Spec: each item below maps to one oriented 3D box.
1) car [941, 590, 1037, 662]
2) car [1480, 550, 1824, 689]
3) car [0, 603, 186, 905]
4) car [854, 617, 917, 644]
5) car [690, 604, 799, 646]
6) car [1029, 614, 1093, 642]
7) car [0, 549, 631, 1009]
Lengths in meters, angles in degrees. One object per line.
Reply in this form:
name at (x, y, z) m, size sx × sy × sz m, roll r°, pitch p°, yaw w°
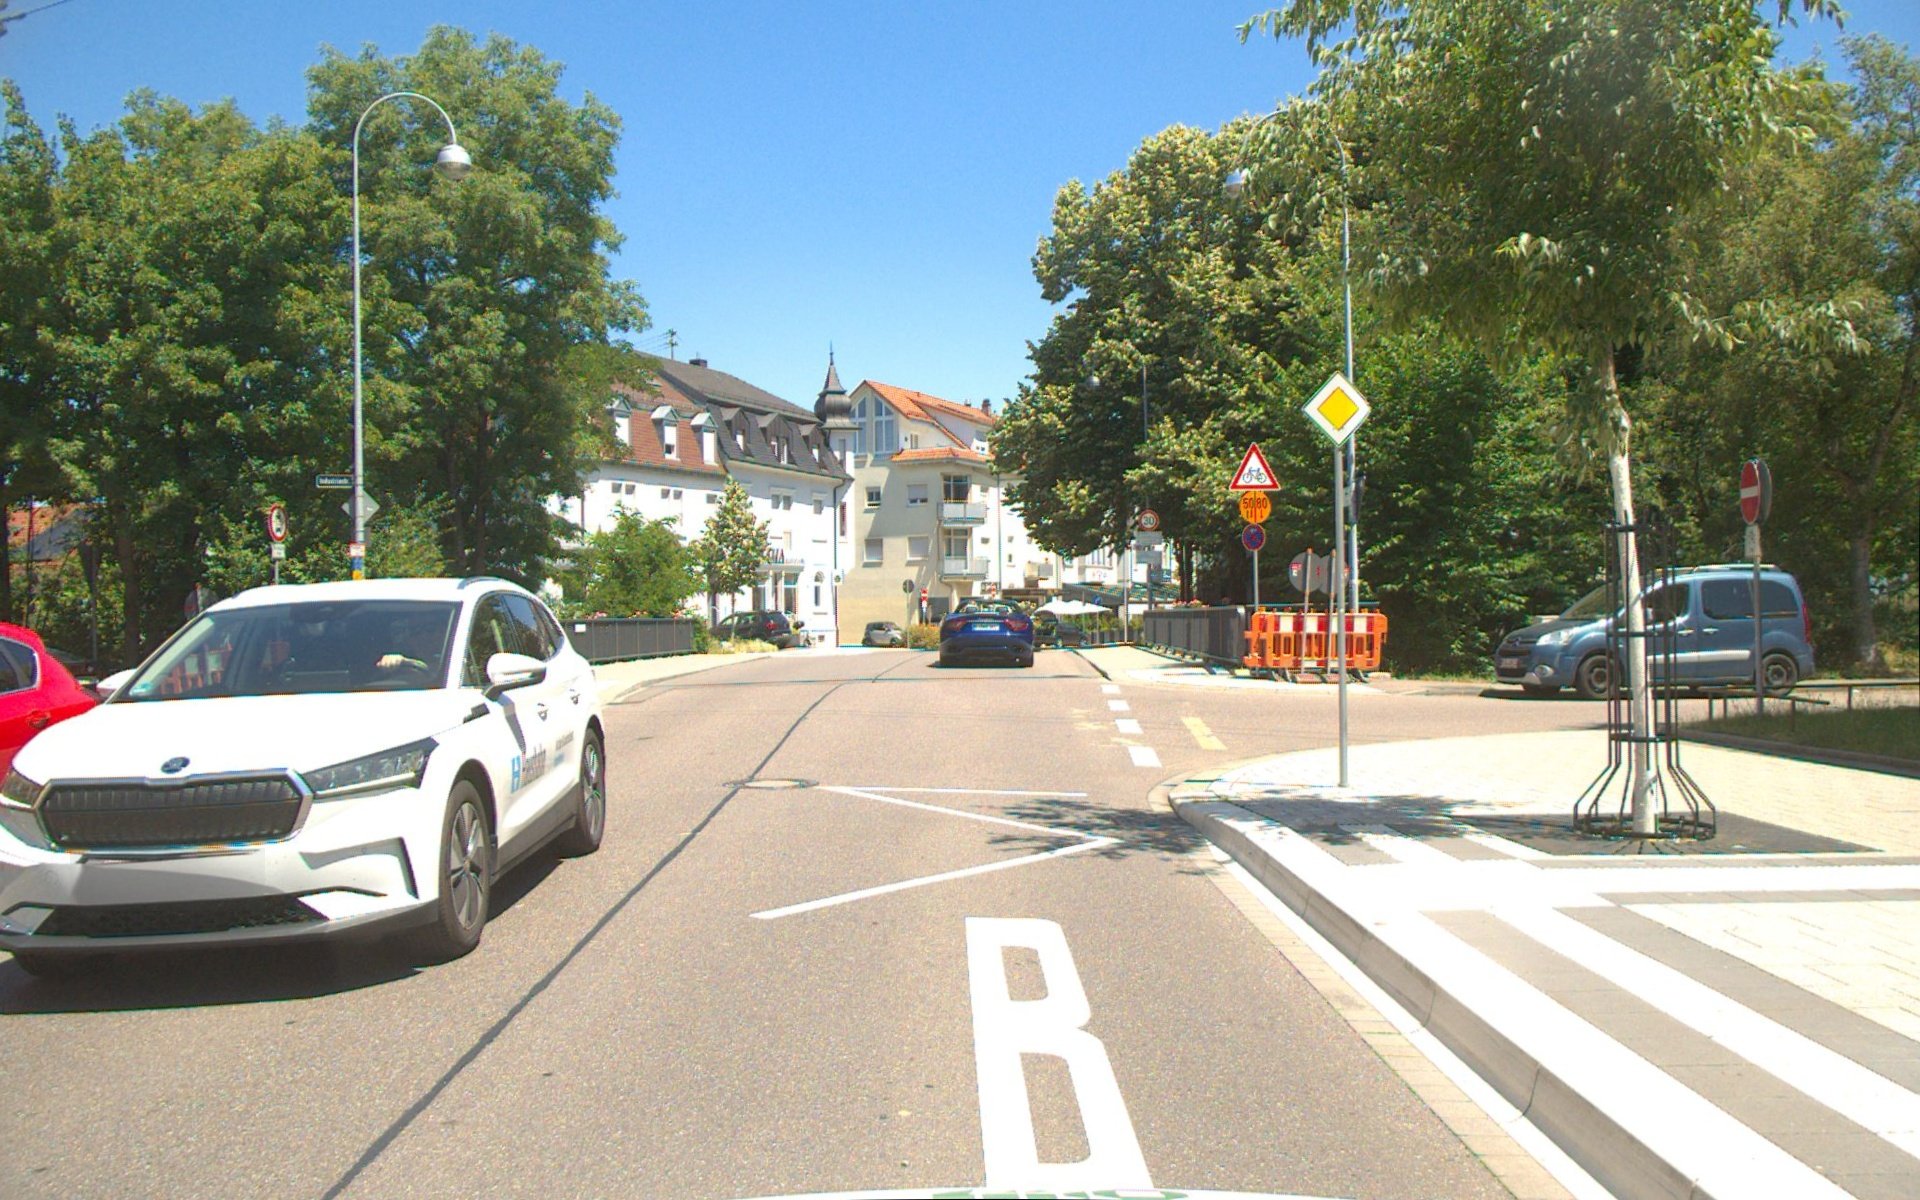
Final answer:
car at (0.532, 0.516, 33.703) m, size 1.832 × 1.366 × 4.595 m, roll 0°, pitch -1°, yaw -1°
car at (9.802, 0.288, 23.555) m, size 4.257 × 1.871 × 1.746 m, roll 0°, pitch -1°, yaw -9°
car at (-5.813, 0.785, 8.072) m, size 1.839 × 1.505 × 4.737 m, roll 2°, pitch 0°, yaw -1°
car at (-4.320, 1.765, 95.409) m, size 3.196 × 1.484 × 1.691 m, roll -2°, pitch -1°, yaw 23°
car at (-9.028, 1.063, 69.421) m, size 4.095 × 1.691 × 1.970 m, roll -2°, pitch -1°, yaw 23°
car at (5.749, 1.594, 93.844) m, size 1.684 × 1.486 × 4.112 m, roll 1°, pitch -1°, yaw 37°
car at (-2.967, 0.658, 8.289) m, size 1.840 × 1.624 × 4.358 m, roll -2°, pitch 0°, yaw -2°
